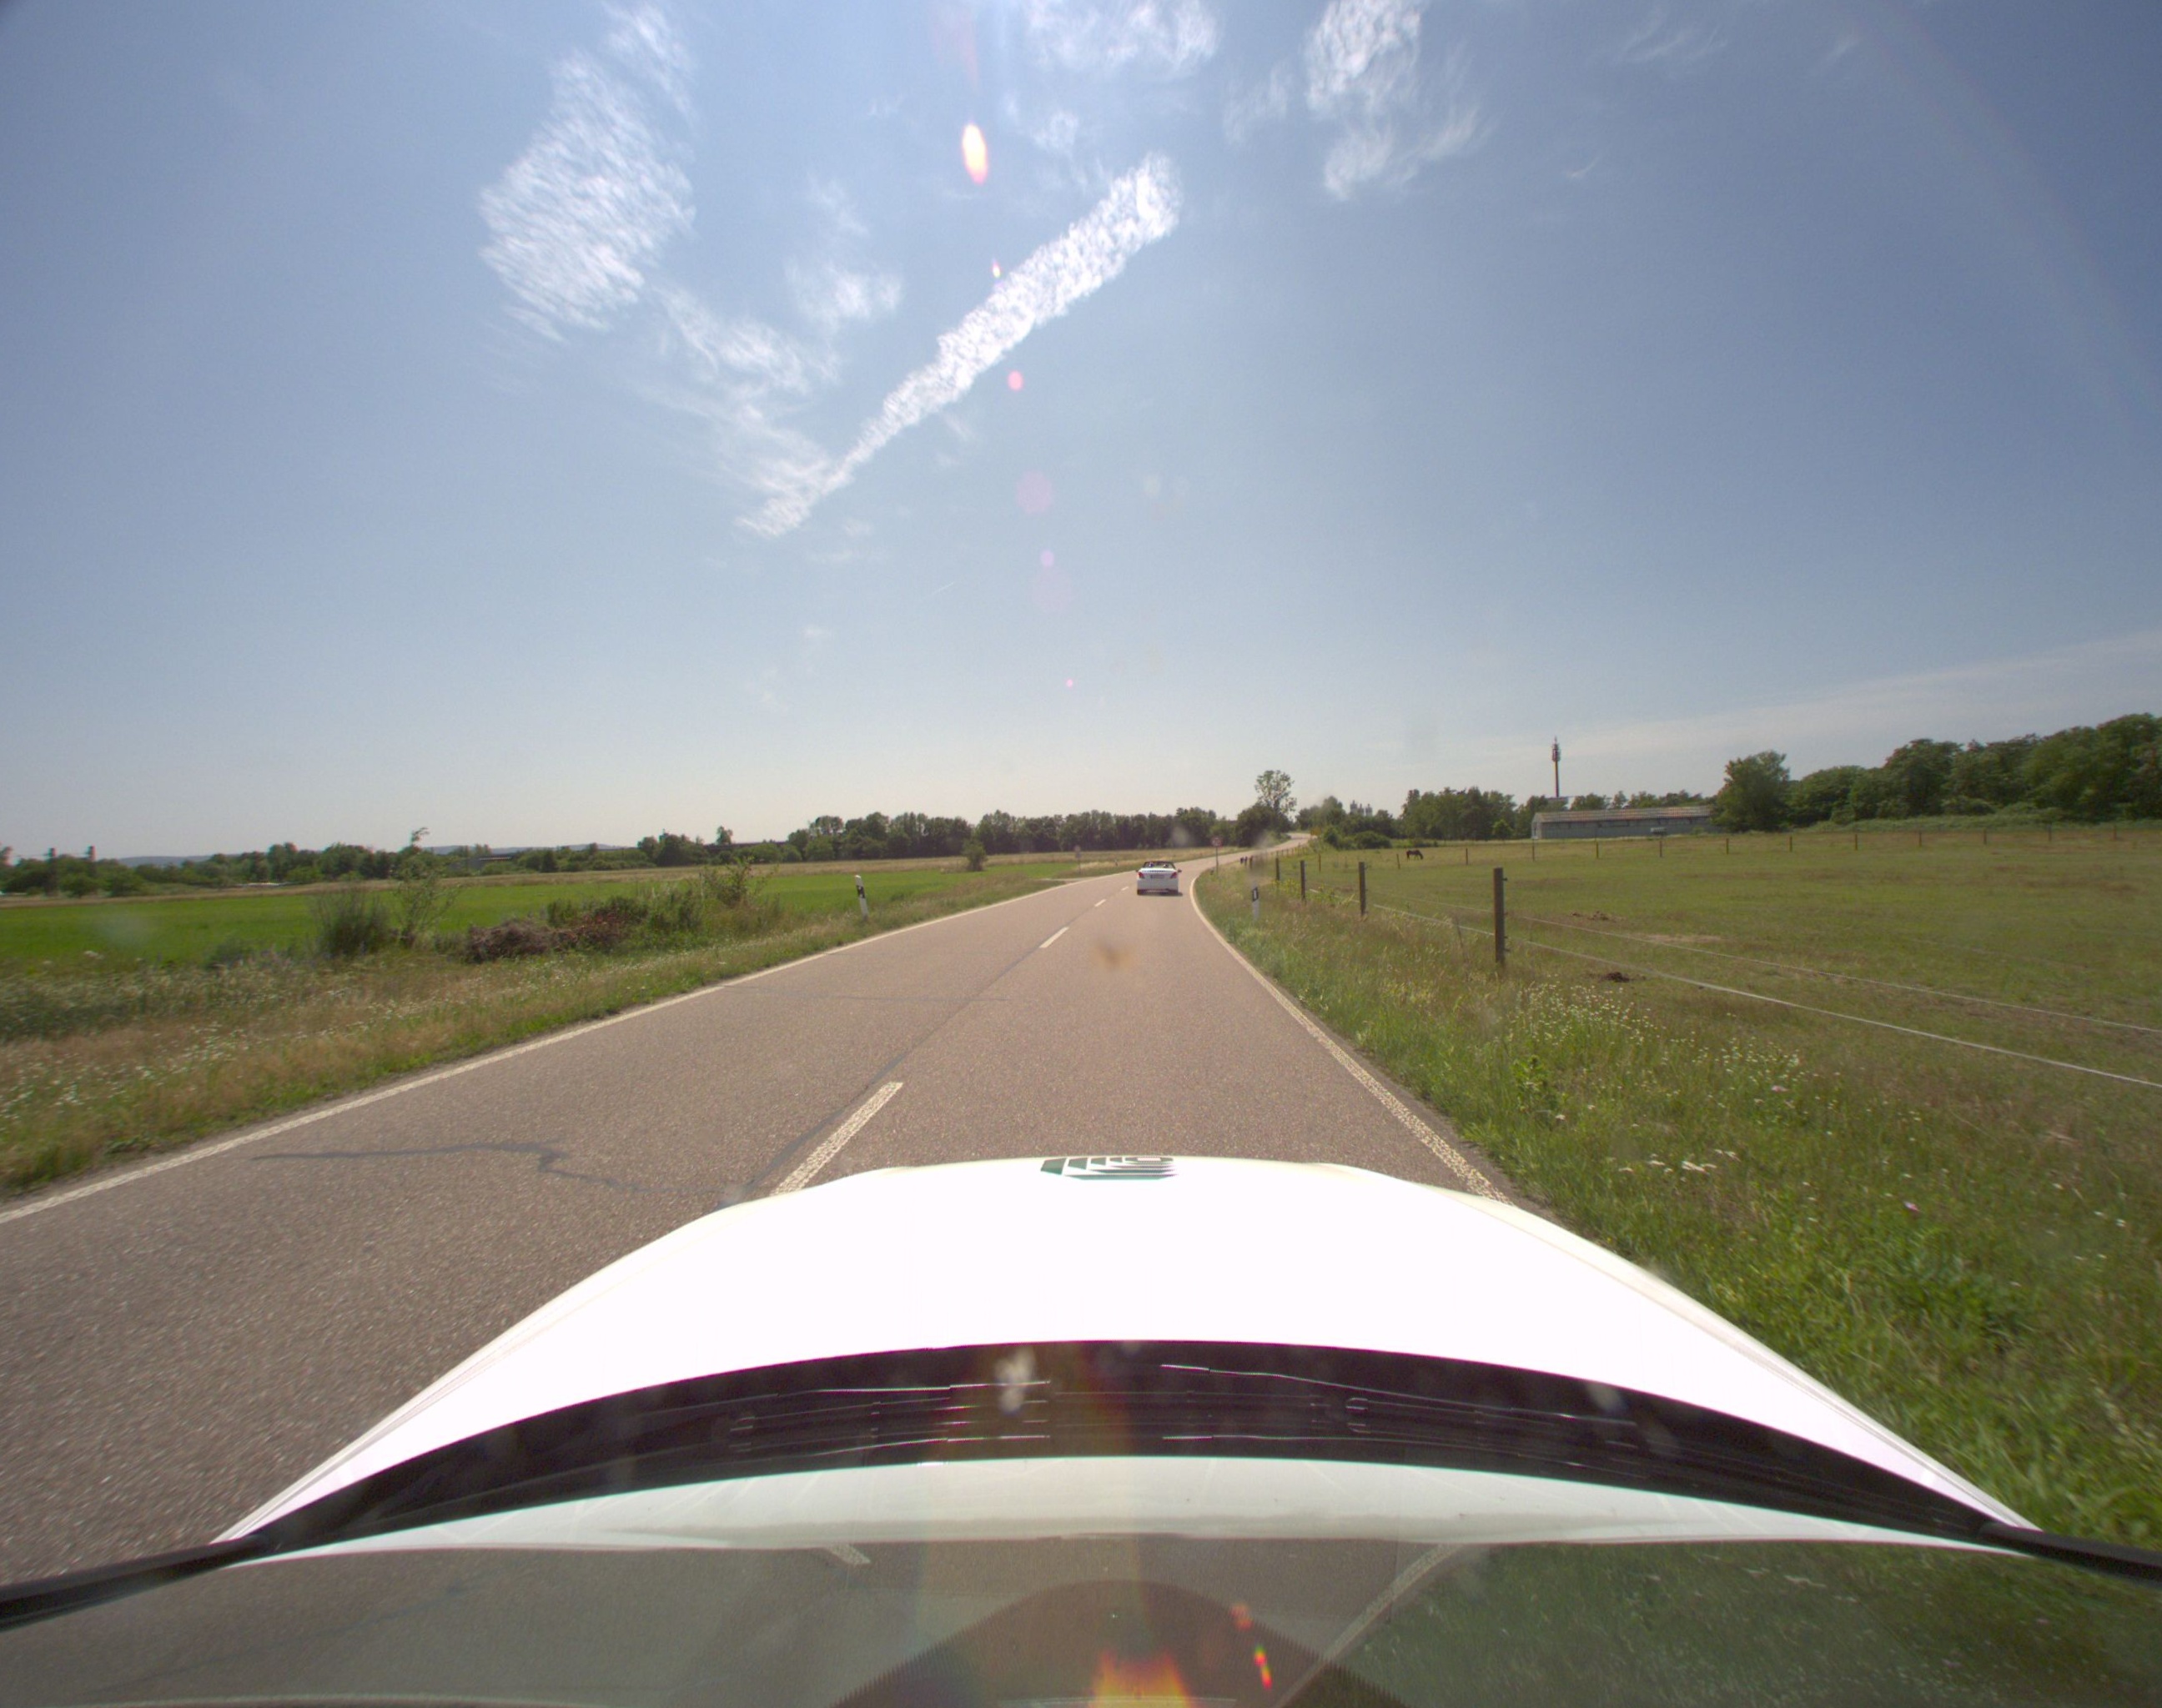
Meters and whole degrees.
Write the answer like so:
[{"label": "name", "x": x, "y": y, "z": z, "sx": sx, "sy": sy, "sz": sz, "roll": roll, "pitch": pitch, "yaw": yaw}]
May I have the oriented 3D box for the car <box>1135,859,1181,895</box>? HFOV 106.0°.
[{"label": "car", "x": 3.275, "y": 0.926, "z": 34.591, "sx": 1.842, "sy": 1.379, "sz": 4.006, "roll": 0, "pitch": 0, "yaw": 5}]
